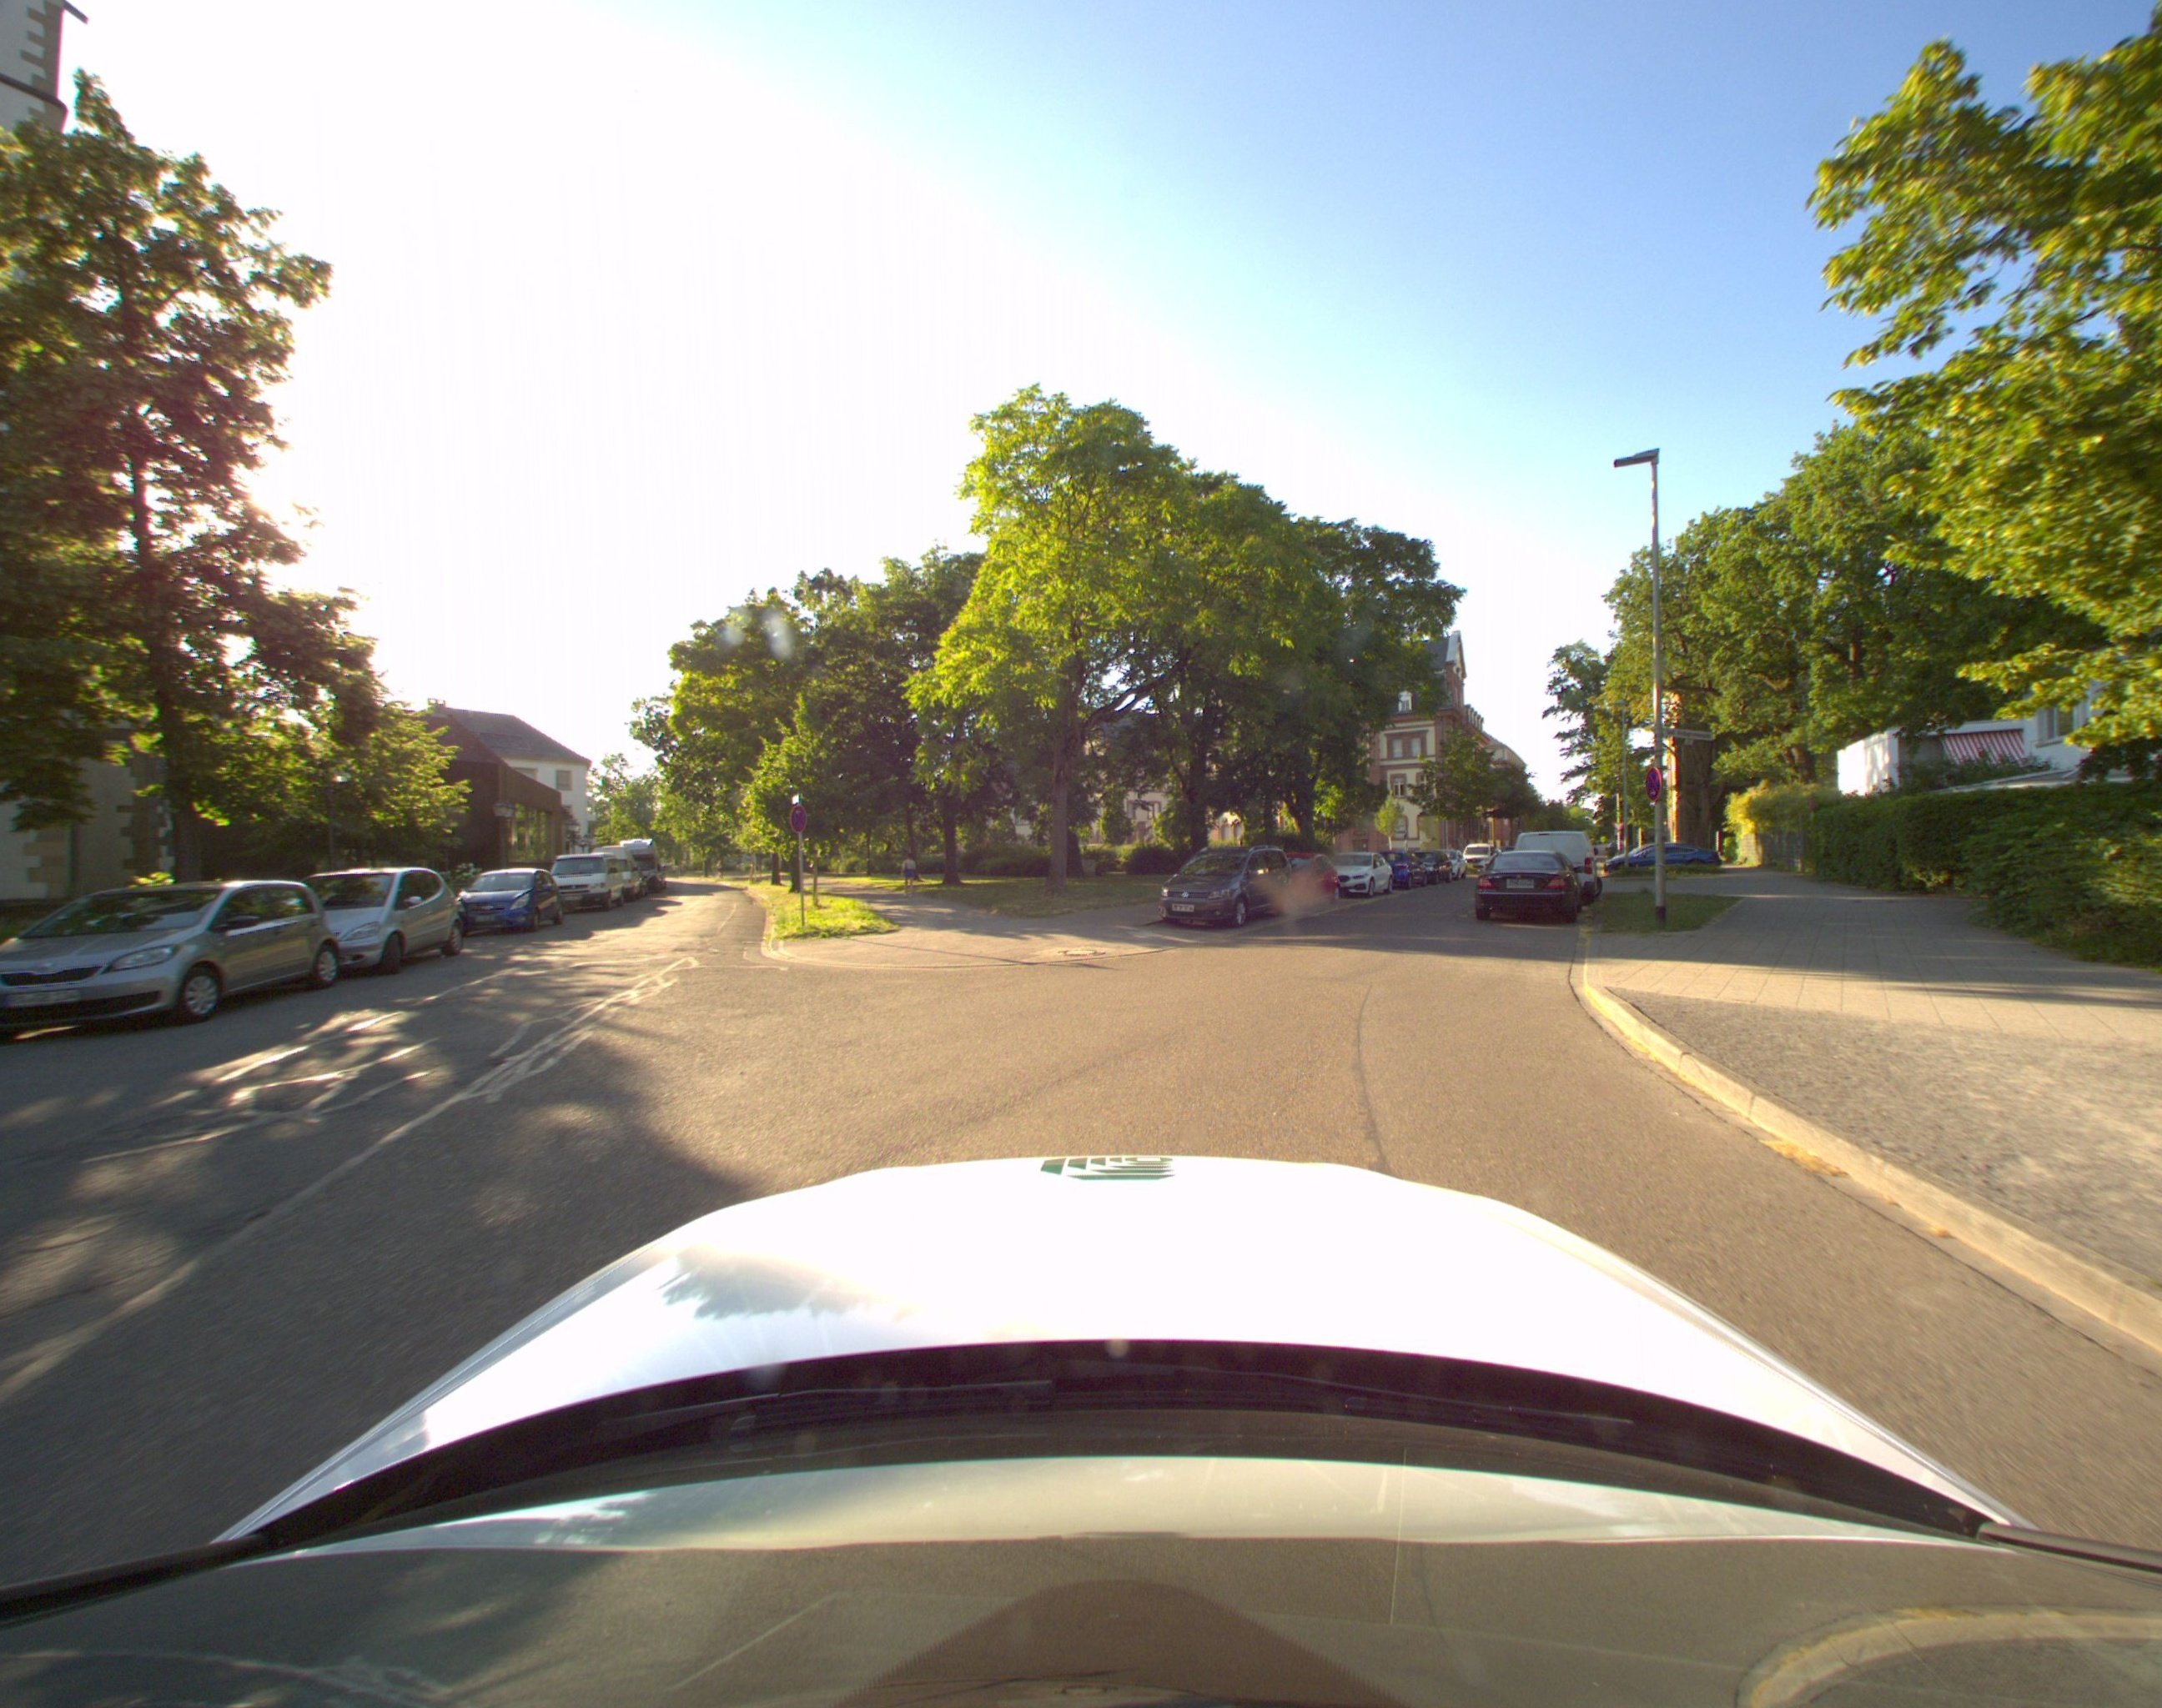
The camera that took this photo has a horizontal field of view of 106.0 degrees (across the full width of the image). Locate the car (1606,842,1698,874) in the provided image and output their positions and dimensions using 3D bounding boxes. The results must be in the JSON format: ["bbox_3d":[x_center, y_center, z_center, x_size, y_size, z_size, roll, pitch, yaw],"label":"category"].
[{"bbox_3d":[28.661,0.194,41.028,3.646,1.524,1.803,-1,0,30],"label":"car"}]

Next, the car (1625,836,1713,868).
[{"bbox_3d":[30.804,-0.085,42.784,3.462,1.584,1.772,-1,0,24],"label":"car"}]

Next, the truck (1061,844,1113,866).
[{"bbox_3d":[0.790,0.158,112.893,2.626,3.029,7.913,-1,0,-41],"label":"truck"}]

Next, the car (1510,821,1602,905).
[{"bbox_3d":[13.133,0.207,22.388,1.934,2.013,5.186,-1,0,32],"label":"car"}]

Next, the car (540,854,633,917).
[{"bbox_3d":[-16.983,1.002,28.210,1.858,1.946,4.806,-1,0,-21],"label":"car"}]

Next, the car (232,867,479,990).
[{"bbox_3d":[-11.246,1.030,12.965,1.711,1.579,3.671,-1,0,-21],"label":"car"}]

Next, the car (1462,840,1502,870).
[{"bbox_3d":[25.797,0.070,52.362,1.764,1.841,4.582,-1,0,33],"label":"car"}]

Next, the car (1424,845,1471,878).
[{"bbox_3d":[18.234,0.356,40.431,1.577,1.526,3.890,-1,0,33],"label":"car"}]

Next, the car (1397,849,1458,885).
[{"bbox_3d":[15.359,0.546,35.975,1.536,1.494,3.968,-1,0,37],"label":"car"}]

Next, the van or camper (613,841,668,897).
[{"bbox_3d":[-24.724,0.791,45.888,2.099,2.908,6.282,-1,0,-23],"label":"van or camper"}]

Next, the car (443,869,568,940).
[{"bbox_3d":[-14.001,1.153,20.021,1.622,1.501,3.671,-1,0,-21],"label":"car"}]

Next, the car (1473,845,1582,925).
[{"bbox_3d":[9.685,0.558,17.467,1.748,1.468,4.896,-1,0,32],"label":"car"}]

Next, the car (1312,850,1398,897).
[{"bbox_3d":[9.182,0.586,27.080,1.674,1.406,4.000,1,1,34],"label":"car"}]

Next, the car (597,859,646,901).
[{"bbox_3d":[-22.354,1.204,39.728,1.861,1.886,4.108,-1,0,-26],"label":"car"}]

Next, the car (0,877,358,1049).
[{"bbox_3d":[-10.142,1.058,9.235,1.618,1.440,3.582,-3,0,-20],"label":"car"}]

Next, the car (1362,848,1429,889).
[{"bbox_3d":[12.335,0.510,31.834,1.622,1.495,3.729,1,1,34],"label":"car"}]

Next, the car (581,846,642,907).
[{"bbox_3d":[-19.854,0.886,34.612,1.861,2.356,5.141,-1,0,-26],"label":"car"}]

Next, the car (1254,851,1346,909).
[{"bbox_3d":[6.061,0.660,22.349,1.374,1.423,3.448,1,1,34],"label":"car"}]

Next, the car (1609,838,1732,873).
[{"bbox_3d":[27.809,0.103,38.601,4.544,1.415,1.935,-4,-3,35],"label":"car"}]

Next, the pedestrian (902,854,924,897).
[{"bbox_3d":[-6.271,0.787,30.397,0.773,1.574,0.765,-2,0,-11],"label":"pedestrian"}]

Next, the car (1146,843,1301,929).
[{"bbox_3d":[3.325,0.596,18.280,1.784,1.675,4.348,1,1,34],"label":"car"}]

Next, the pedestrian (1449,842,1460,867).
[{"bbox_3d":[27.417,0.013,59.733,0.593,1.784,0.952,-1,0,30],"label":"pedestrian"}]
